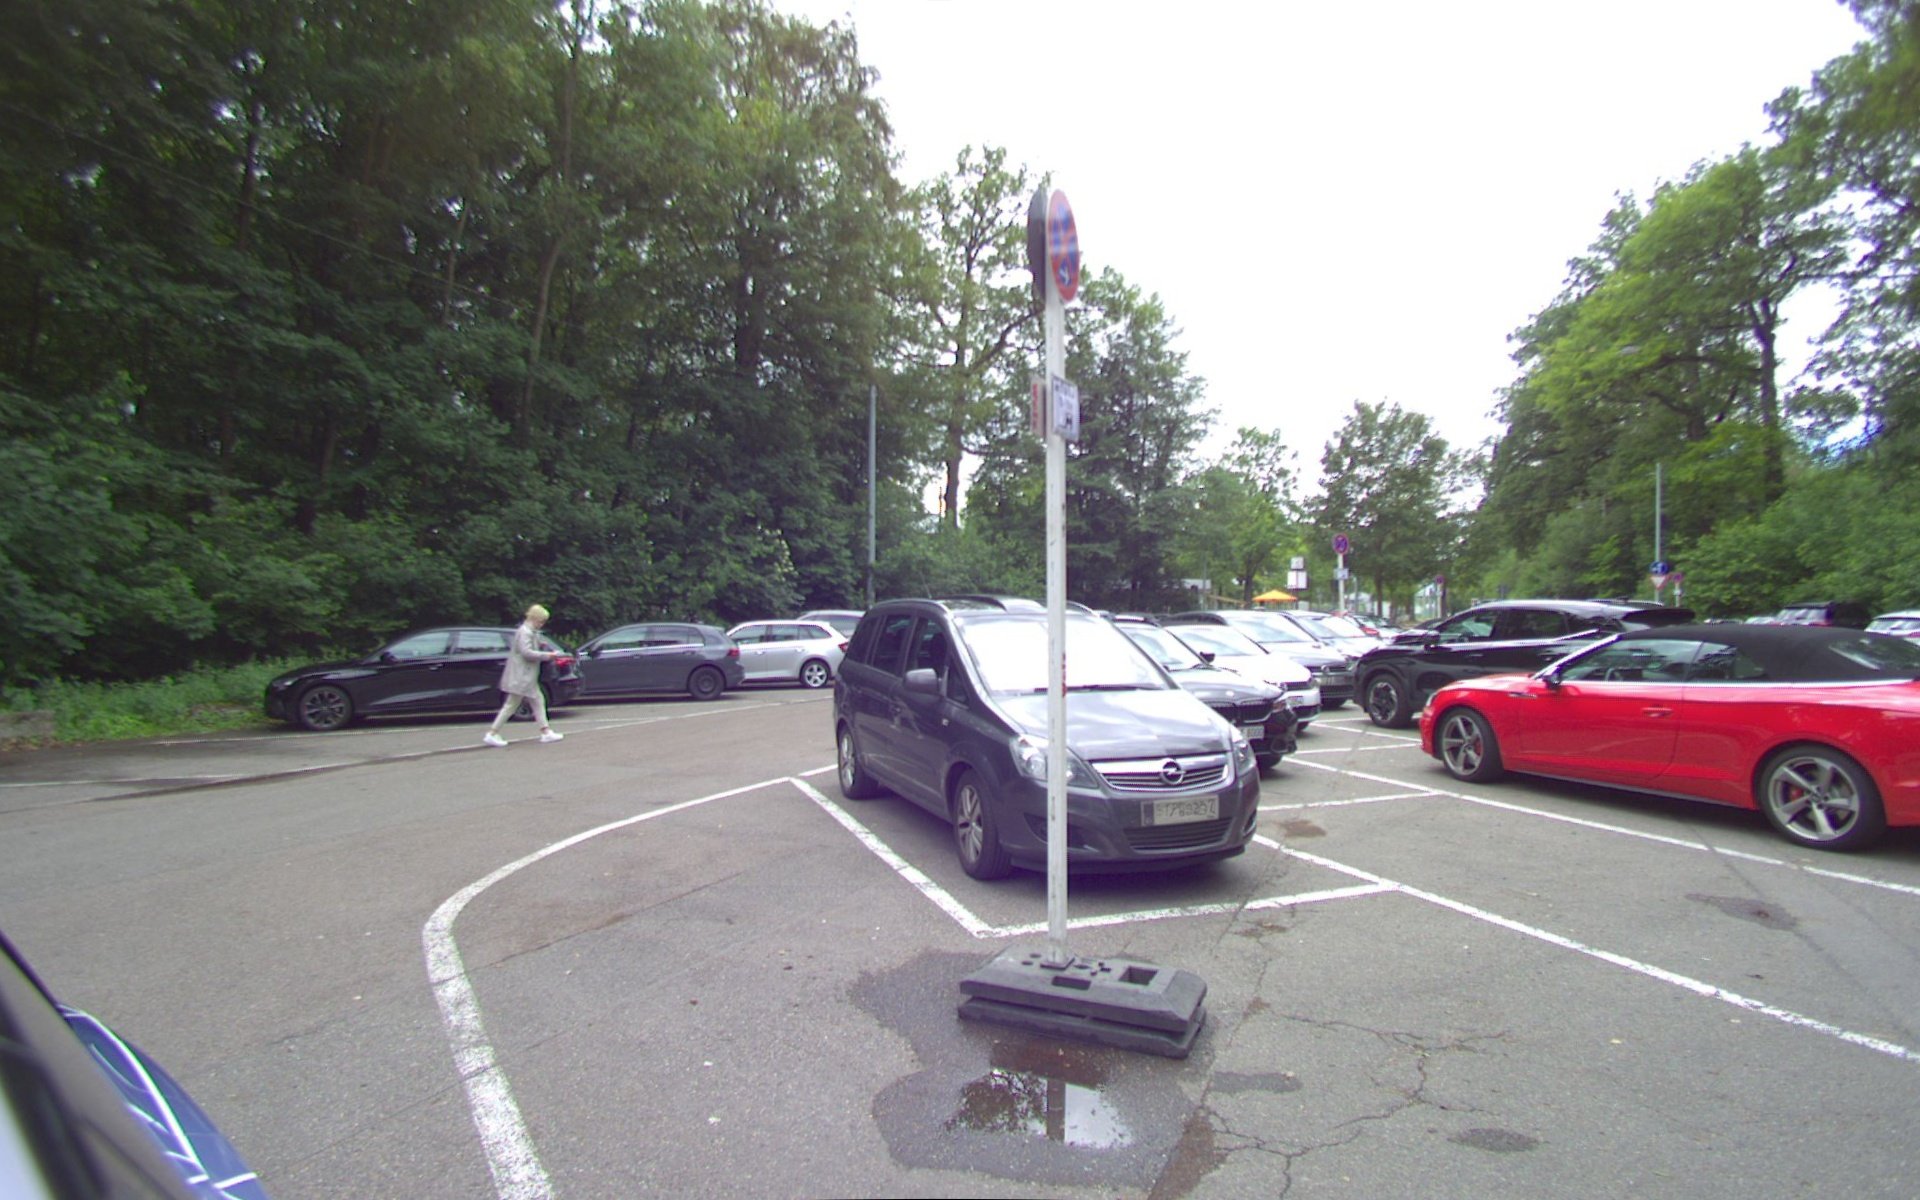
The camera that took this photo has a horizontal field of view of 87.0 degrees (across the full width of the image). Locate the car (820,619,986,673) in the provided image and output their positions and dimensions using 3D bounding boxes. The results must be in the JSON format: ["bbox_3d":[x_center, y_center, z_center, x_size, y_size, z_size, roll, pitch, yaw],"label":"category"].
[{"bbox_3d":[-1.607,1.246,28.219,4.189,1.388,1.972,0,-1,-21],"label":"car"}]

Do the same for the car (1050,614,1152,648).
[{"bbox_3d":[6.215,1.348,44.750,4.049,1.449,1.875,0,-1,-16],"label":"car"}]

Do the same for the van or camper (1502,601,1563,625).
[{"bbox_3d":[72.759,1.656,128.546,7.217,2.871,2.074,0,-1,-14],"label":"van or camper"}]

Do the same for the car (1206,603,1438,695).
[{"bbox_3d":[6.767,0.881,19.377,1.841,1.566,4.013,1,-2,-26],"label":"car"}]

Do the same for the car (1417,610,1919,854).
[{"bbox_3d":[5.817,0.791,7.639,1.739,1.405,4.406,0,-1,-19],"label":"car"}]

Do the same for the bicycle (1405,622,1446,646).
[{"bbox_3d":[21.741,1.583,47.297,1.678,1.120,0.478,-1,-1,29],"label":"bicycle"}]

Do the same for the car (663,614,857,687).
[{"bbox_3d":[-4.312,1.057,21.791,3.932,1.478,1.840,0,-2,-15],"label":"car"}]

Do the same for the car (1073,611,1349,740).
[{"bbox_3d":[3.153,0.901,13.562,1.742,1.454,3.858,0,-1,-19],"label":"car"}]

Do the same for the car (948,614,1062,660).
[{"bbox_3d":[1.538,1.261,34.851,3.521,1.516,1.740,0,-1,-17],"label":"car"}]

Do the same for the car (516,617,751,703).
[{"bbox_3d":[-5.996,1.055,18.700,3.931,1.433,1.916,0,-1,-20],"label":"car"}]

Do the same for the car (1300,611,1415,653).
[{"bbox_3d":[15.173,1.196,38.849,1.844,1.495,4.013,0,-1,-22],"label":"car"}]

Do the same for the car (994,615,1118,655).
[{"bbox_3d":[3.622,1.319,38.422,4.224,1.424,1.933,0,-1,-15],"label":"car"}]

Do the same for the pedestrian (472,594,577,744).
[{"bbox_3d":[-5.269,0.808,12.275,0.760,1.738,0.889,-1,-2,27],"label":"pedestrian"}]

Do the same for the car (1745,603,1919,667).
[{"bbox_3d":[26.026,1.018,30.013,4.627,1.780,2.119,0,-1,-19],"label":"car"}]

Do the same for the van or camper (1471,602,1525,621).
[{"bbox_3d":[80.471,1.710,151.348,7.222,2.871,2.208,0,-1,-9],"label":"van or camper"}]

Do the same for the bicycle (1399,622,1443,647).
[{"bbox_3d":[21.020,1.566,46.147,1.781,1.120,0.478,-1,-1,29],"label":"bicycle"}]

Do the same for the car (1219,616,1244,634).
[{"bbox_3d":[25.156,2.306,93.952,1.979,1.564,3.985,0,-1,12],"label":"car"}]

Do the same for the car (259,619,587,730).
[{"bbox_3d":[-7.865,1.047,15.314,4.132,1.473,1.905,0,-2,-19],"label":"car"}]

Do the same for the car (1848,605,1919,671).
[{"bbox_3d":[23.970,0.899,24.564,3.931,1.522,1.875,0,-1,-19],"label":"car"}]

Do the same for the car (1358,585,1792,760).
[{"bbox_3d":[6.904,0.736,11.899,1.866,1.676,4.013,0,-1,-22],"label":"car"}]

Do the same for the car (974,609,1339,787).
[{"bbox_3d":[1.756,0.857,10.648,1.729,1.454,4.292,0,-1,-21],"label":"car"}]

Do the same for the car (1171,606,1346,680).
[{"bbox_3d":[7.088,0.997,24.512,1.814,1.609,4.204,0,-1,-22],"label":"car"}]

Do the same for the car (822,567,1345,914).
[{"bbox_3d":[0.415,0.706,7.124,1.798,1.621,4.402,0,-1,-21],"label":"car"}]

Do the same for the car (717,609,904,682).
[{"bbox_3d":[-3.661,1.062,24.636,4.189,1.649,1.971,0,-1,-19],"label":"car"}]

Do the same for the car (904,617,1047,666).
[{"bbox_3d":[0.470,1.279,31.879,4.115,1.468,1.810,0,-1,-19],"label":"car"}]

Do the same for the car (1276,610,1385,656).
[{"bbox_3d":[13.332,1.167,36.633,1.657,1.597,3.666,0,-1,-22],"label":"car"}]

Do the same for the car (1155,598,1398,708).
[{"bbox_3d":[5.090,0.830,16.891,1.815,1.599,3.990,1,-2,-20],"label":"car"}]
